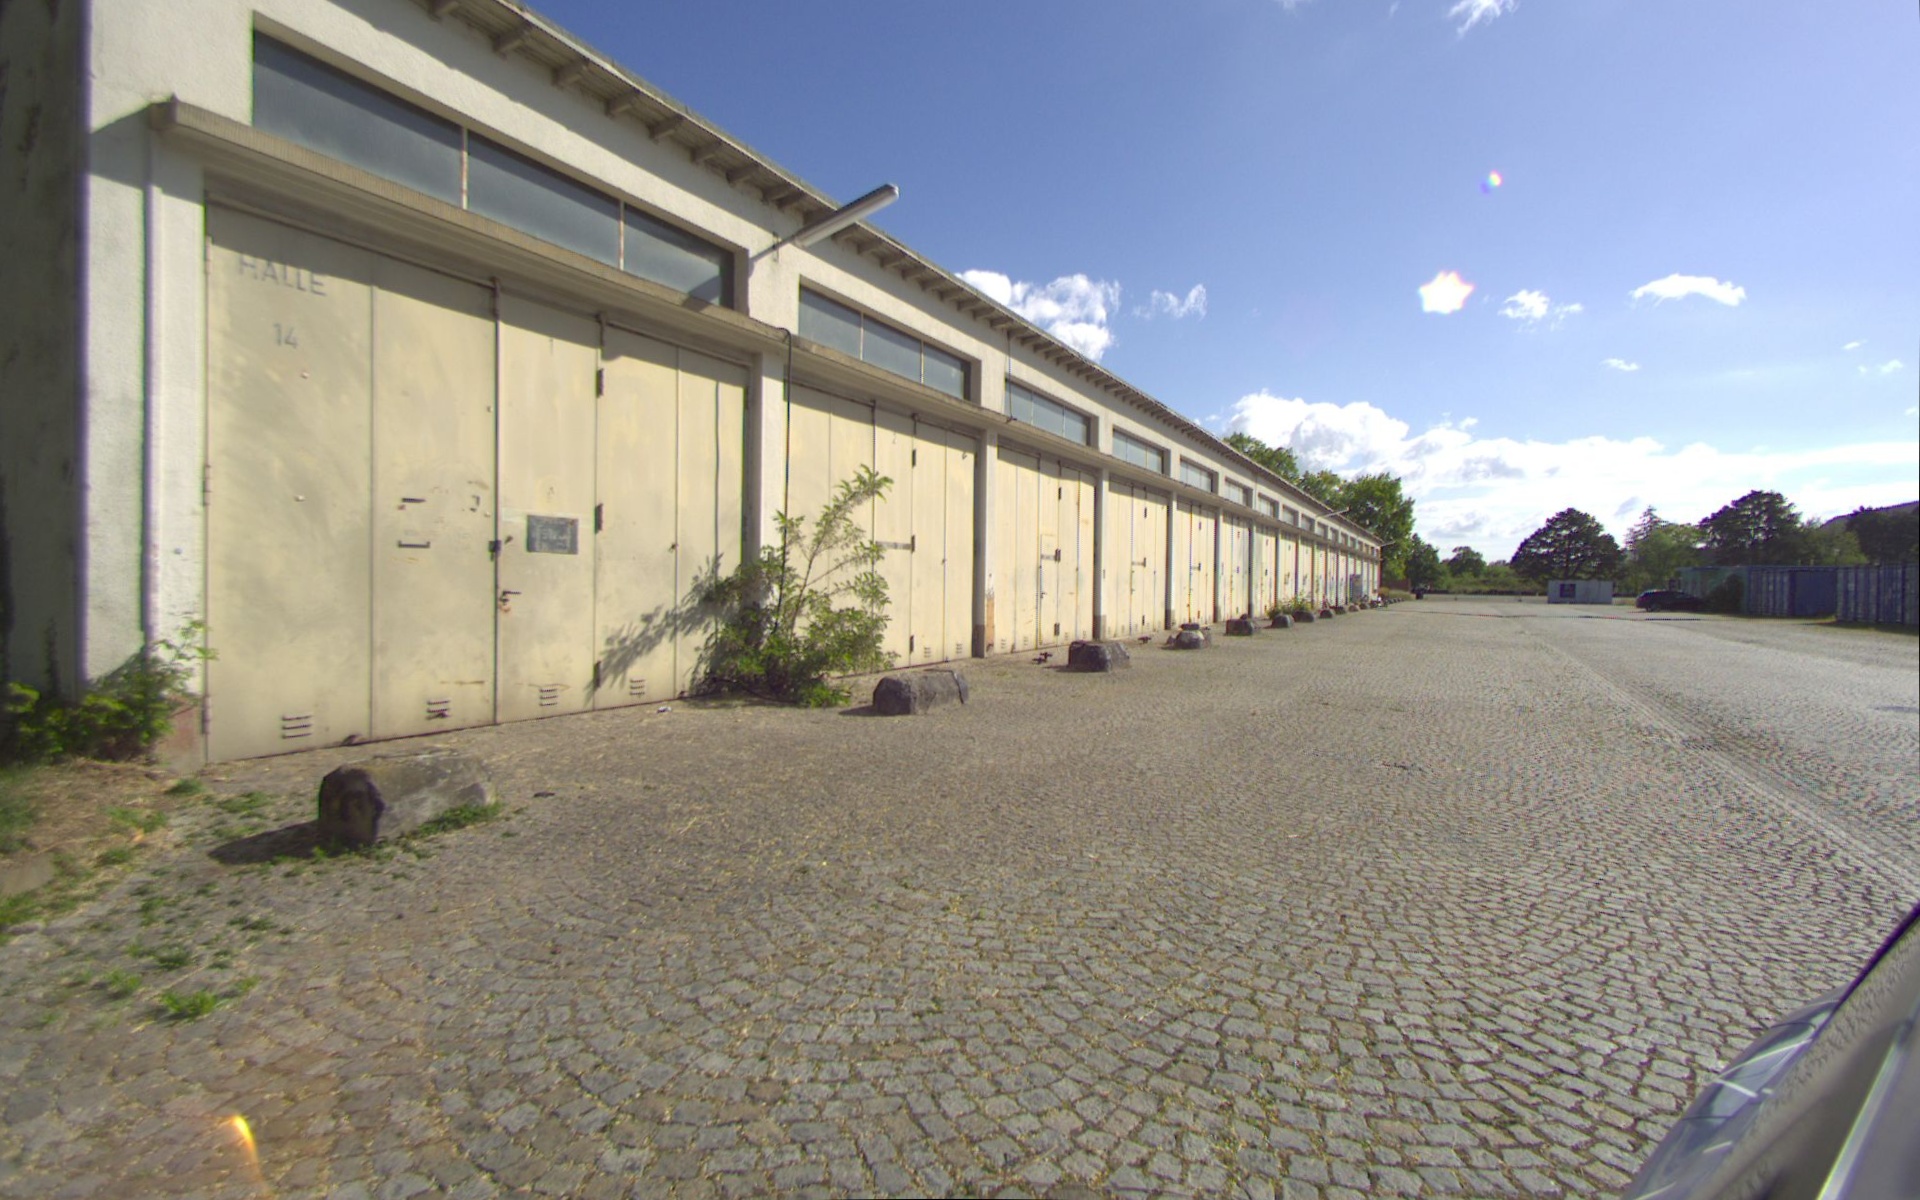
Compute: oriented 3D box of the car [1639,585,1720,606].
[{"bbox_3d":[48.182,-0.301,67.880,4.072,1.313,1.983,-1,1,26],"label":"car"}]
